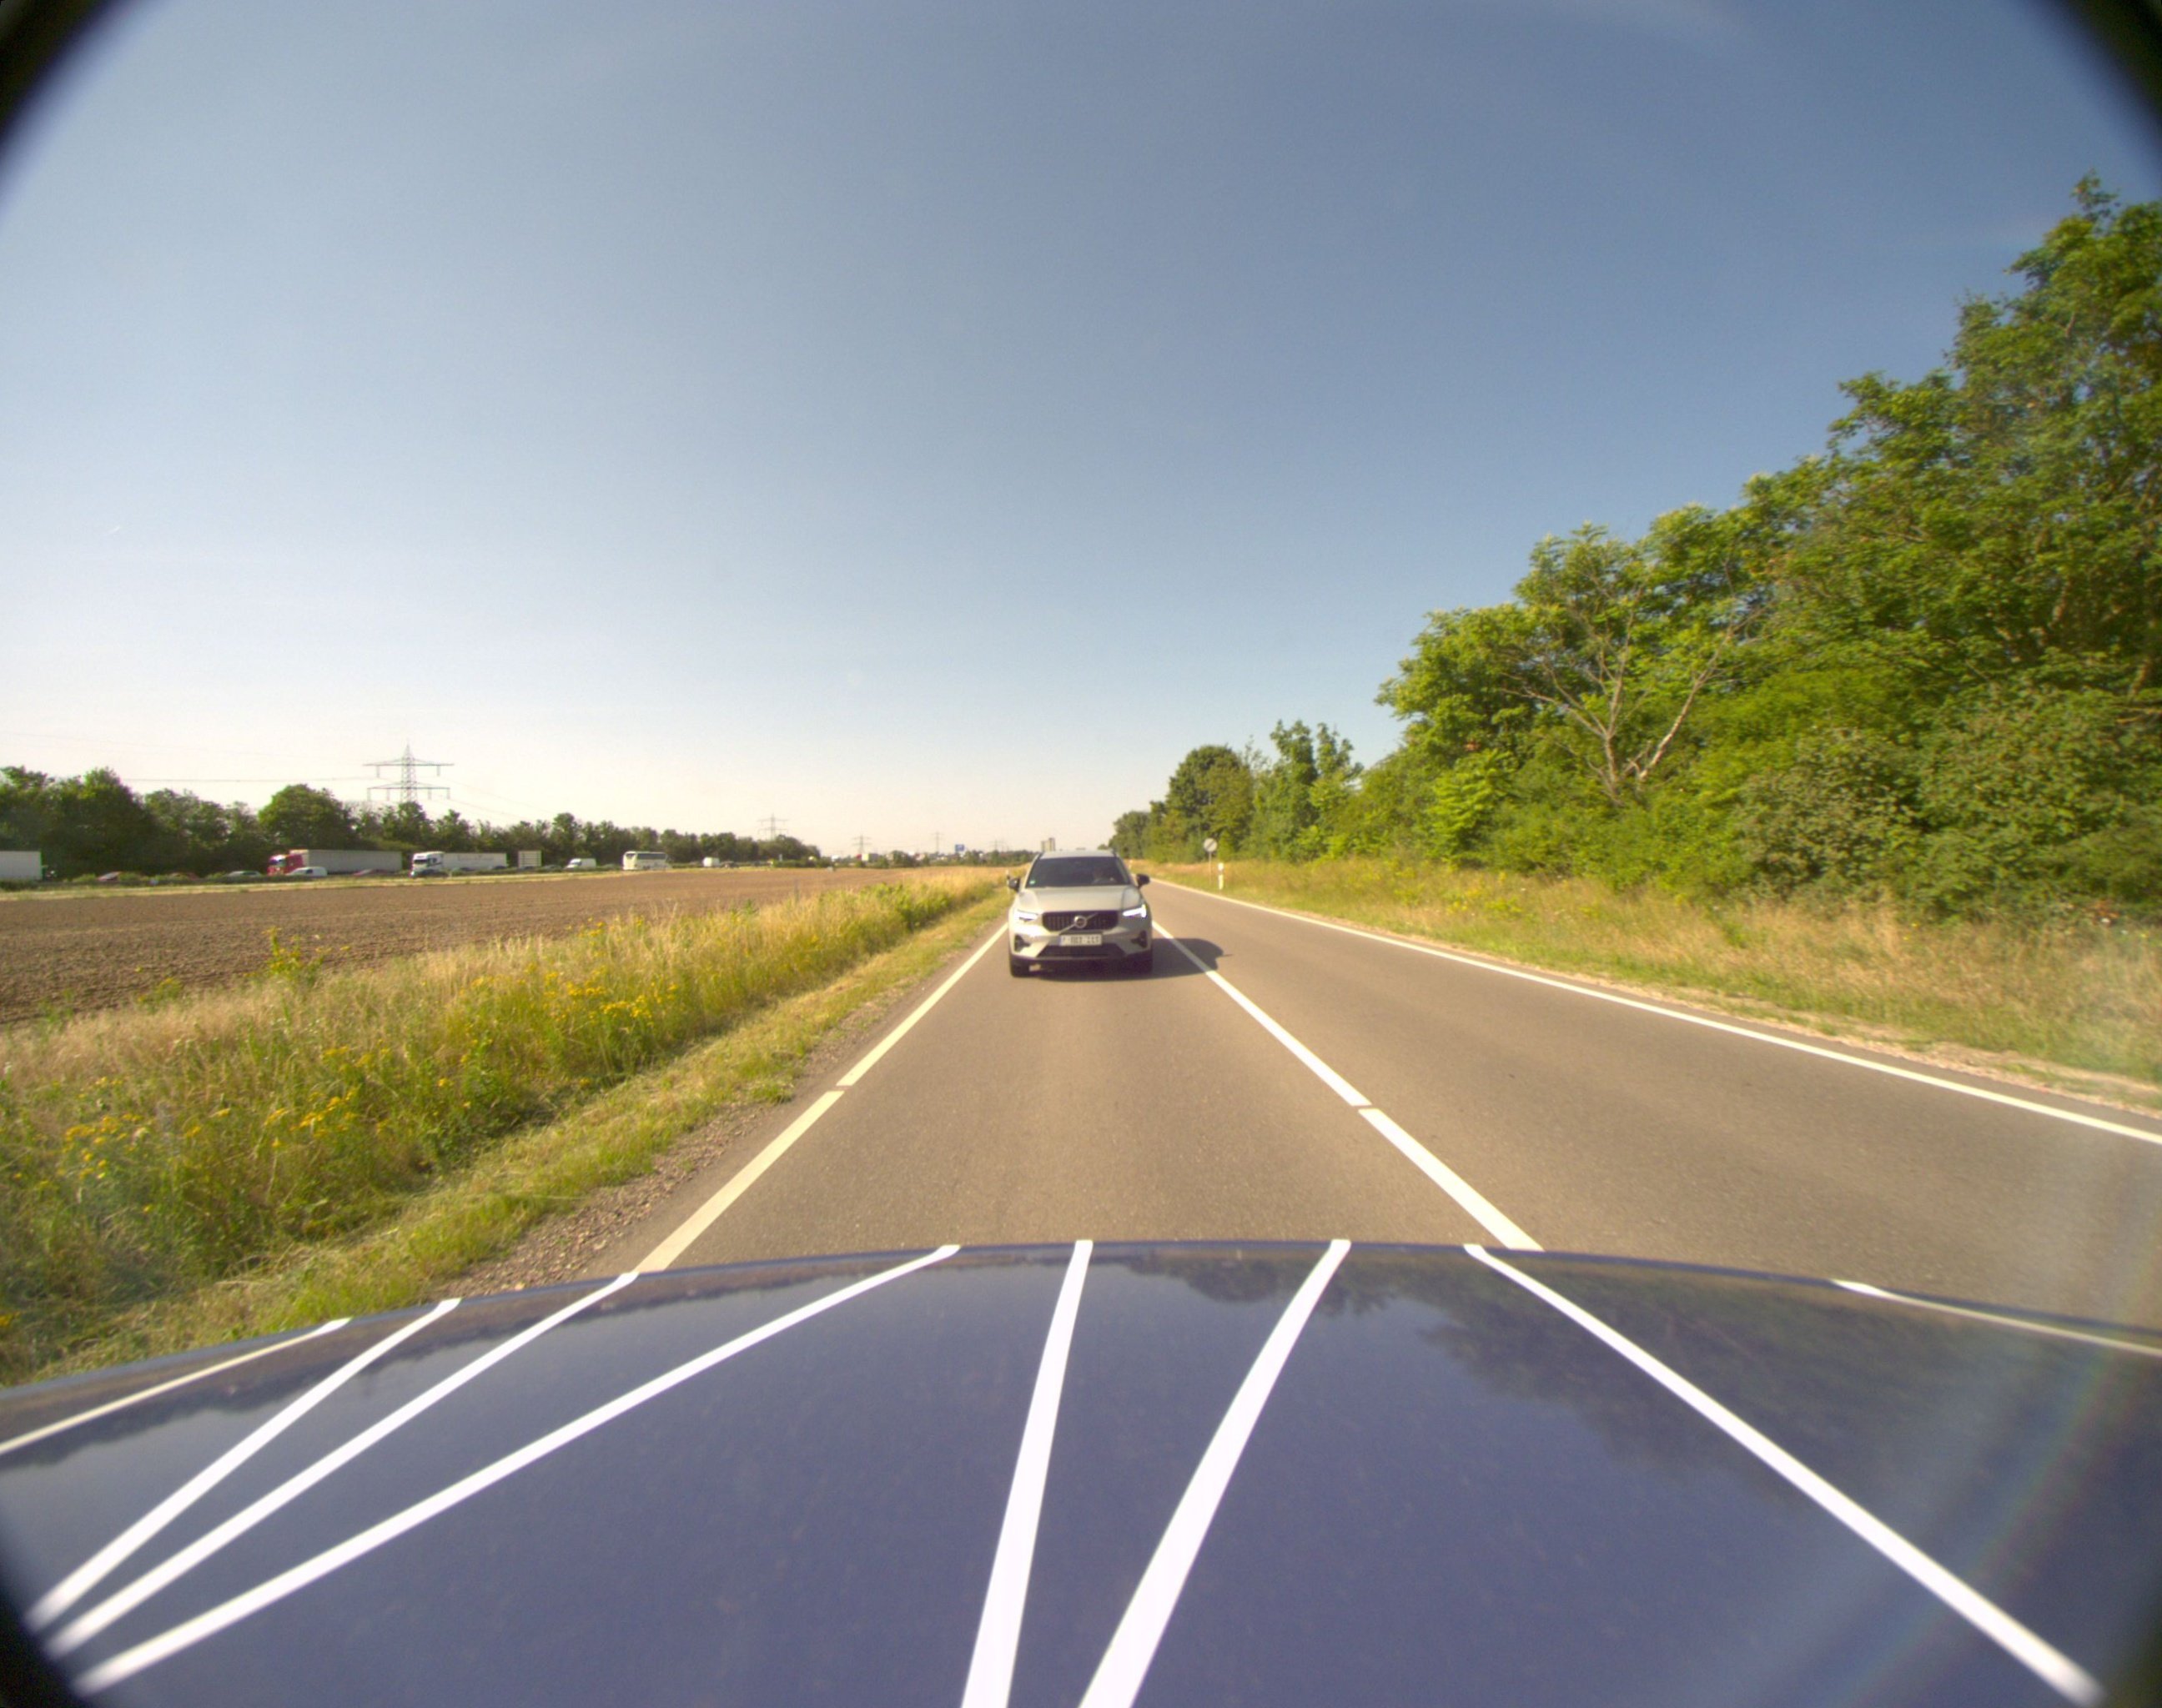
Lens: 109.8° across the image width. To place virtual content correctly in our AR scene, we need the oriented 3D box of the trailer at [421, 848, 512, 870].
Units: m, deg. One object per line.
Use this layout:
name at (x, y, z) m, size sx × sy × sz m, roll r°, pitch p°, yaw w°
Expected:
trailer at (-102.783, 0.763, 127.684) m, size 3.211 × 3.510 × 15.081 m, roll 0°, pitch 0°, yaw -1°

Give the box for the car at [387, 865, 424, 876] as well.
car at (-87.976, 2.109, 99.055) m, size 1.550 × 1.227 × 3.619 m, roll -4°, pitch 0°, yaw -1°

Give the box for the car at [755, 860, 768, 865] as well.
car at (-88.065, 2.269, 209.586) m, size 1.707 × 1.366 × 4.094 m, roll -3°, pitch 0°, yaw 0°

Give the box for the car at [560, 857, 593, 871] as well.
car at (-98.088, 1.893, 147.719) m, size 2.042 × 2.433 × 6.413 m, roll -2°, pitch 0°, yaw 0°

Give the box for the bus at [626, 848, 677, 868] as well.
bus at (-87.920, 0.798, 156.012) m, size 2.469 × 3.781 × 14.546 m, roll -1°, pitch 0°, yaw -1°

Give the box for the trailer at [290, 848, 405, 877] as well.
trailer at (-102.865, 1.099, 107.108) m, size 2.953 × 3.711 × 13.781 m, roll -1°, pitch 0°, yaw -1°

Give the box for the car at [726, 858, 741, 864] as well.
car at (-84.768, 1.670, 185.552) m, size 1.707 × 1.464 × 4.209 m, roll -3°, pitch 0°, yaw 0°

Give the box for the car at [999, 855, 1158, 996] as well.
car at (-0.022, 0.860, 11.122) m, size 1.840 × 1.628 × 4.135 m, roll -2°, pitch 0°, yaw 0°

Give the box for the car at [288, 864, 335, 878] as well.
car at (-96.202, 2.099, 95.025) m, size 1.707 × 1.629 × 4.093 m, roll -3°, pitch 0°, yaw -1°

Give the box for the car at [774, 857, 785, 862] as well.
car at (-95.740, 1.866, 241.391) m, size 1.707 × 1.500 × 4.093 m, roll -3°, pitch 0°, yaw 0°

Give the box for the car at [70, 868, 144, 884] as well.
car at (-96.765, 2.151, 75.538) m, size 1.855 × 1.377 × 4.247 m, roll -2°, pitch 0°, yaw -1°

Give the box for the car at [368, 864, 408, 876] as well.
car at (-96.305, 2.194, 105.676) m, size 1.707 × 1.500 × 4.093 m, roll -3°, pitch 0°, yaw 0°

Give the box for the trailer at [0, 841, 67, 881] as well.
trailer at (-102.130, 0.698, 68.572) m, size 3.079 × 3.711 × 13.366 m, roll -1°, pitch 0°, yaw 0°

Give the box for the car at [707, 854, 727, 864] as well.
car at (-88.870, 1.129, 185.546) m, size 1.999 × 2.358 × 5.521 m, roll -3°, pitch 0°, yaw -1°

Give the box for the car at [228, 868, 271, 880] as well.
car at (-96.604, 2.315, 88.335) m, size 1.344 × 1.276 × 3.291 m, roll -3°, pitch 0°, yaw -3°

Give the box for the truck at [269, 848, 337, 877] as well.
truck at (-102.799, 1.103, 100.529) m, size 2.953 × 3.711 × 5.869 m, roll -1°, pitch 0°, yaw -1°

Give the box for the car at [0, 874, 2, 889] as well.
car at (-96.726, 2.460, 65.330) m, size 1.855 × 1.377 × 4.247 m, roll -2°, pitch 0°, yaw -1°

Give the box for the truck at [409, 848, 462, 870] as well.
truck at (-102.689, 0.762, 120.984) m, size 3.211 × 3.510 × 6.108 m, roll 0°, pitch 0°, yaw -1°

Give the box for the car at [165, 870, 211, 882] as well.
car at (-102.091, 2.518, 86.879) m, size 1.344 × 1.212 × 3.291 m, roll -3°, pitch 0°, yaw -1°
